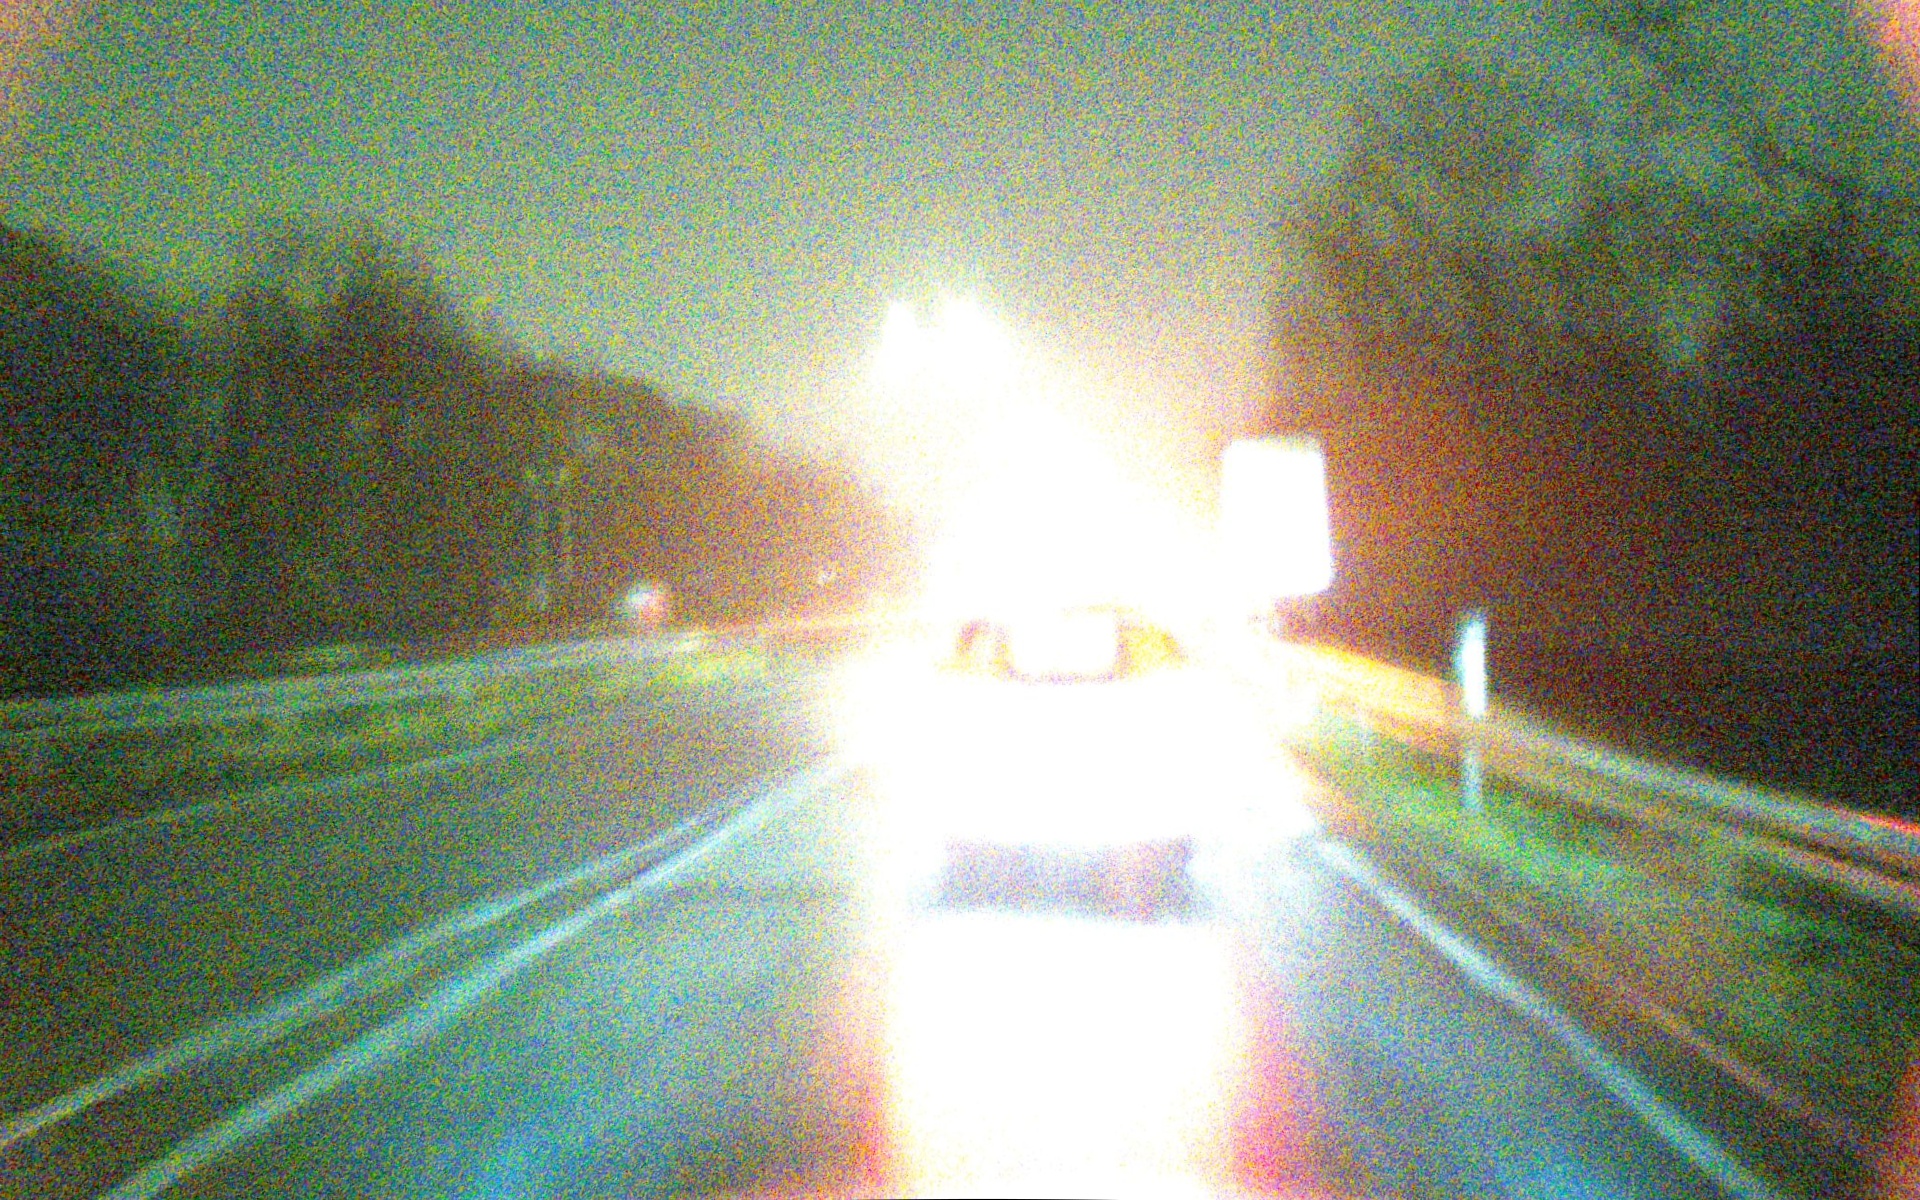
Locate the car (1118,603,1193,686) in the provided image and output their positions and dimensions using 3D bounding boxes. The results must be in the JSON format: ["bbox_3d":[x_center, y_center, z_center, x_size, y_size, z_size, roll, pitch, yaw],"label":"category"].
[{"bbox_3d":[5.030,1.117,42.407,1.797,1.982,4.003,1,-1,7],"label":"car"}]

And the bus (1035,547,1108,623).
[{"bbox_3d":[5.127,-0.680,74.475,2.685,3.178,9.208,1,1,7],"label":"bus"}]

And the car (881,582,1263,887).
[{"bbox_3d":[0.725,0.683,10.161,1.903,1.517,3.718,0,0,5],"label":"car"}]

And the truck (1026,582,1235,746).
[{"bbox_3d":[3.319,1.089,30.221,3.004,2.573,7.172,1,-1,12],"label":"truck"}]
